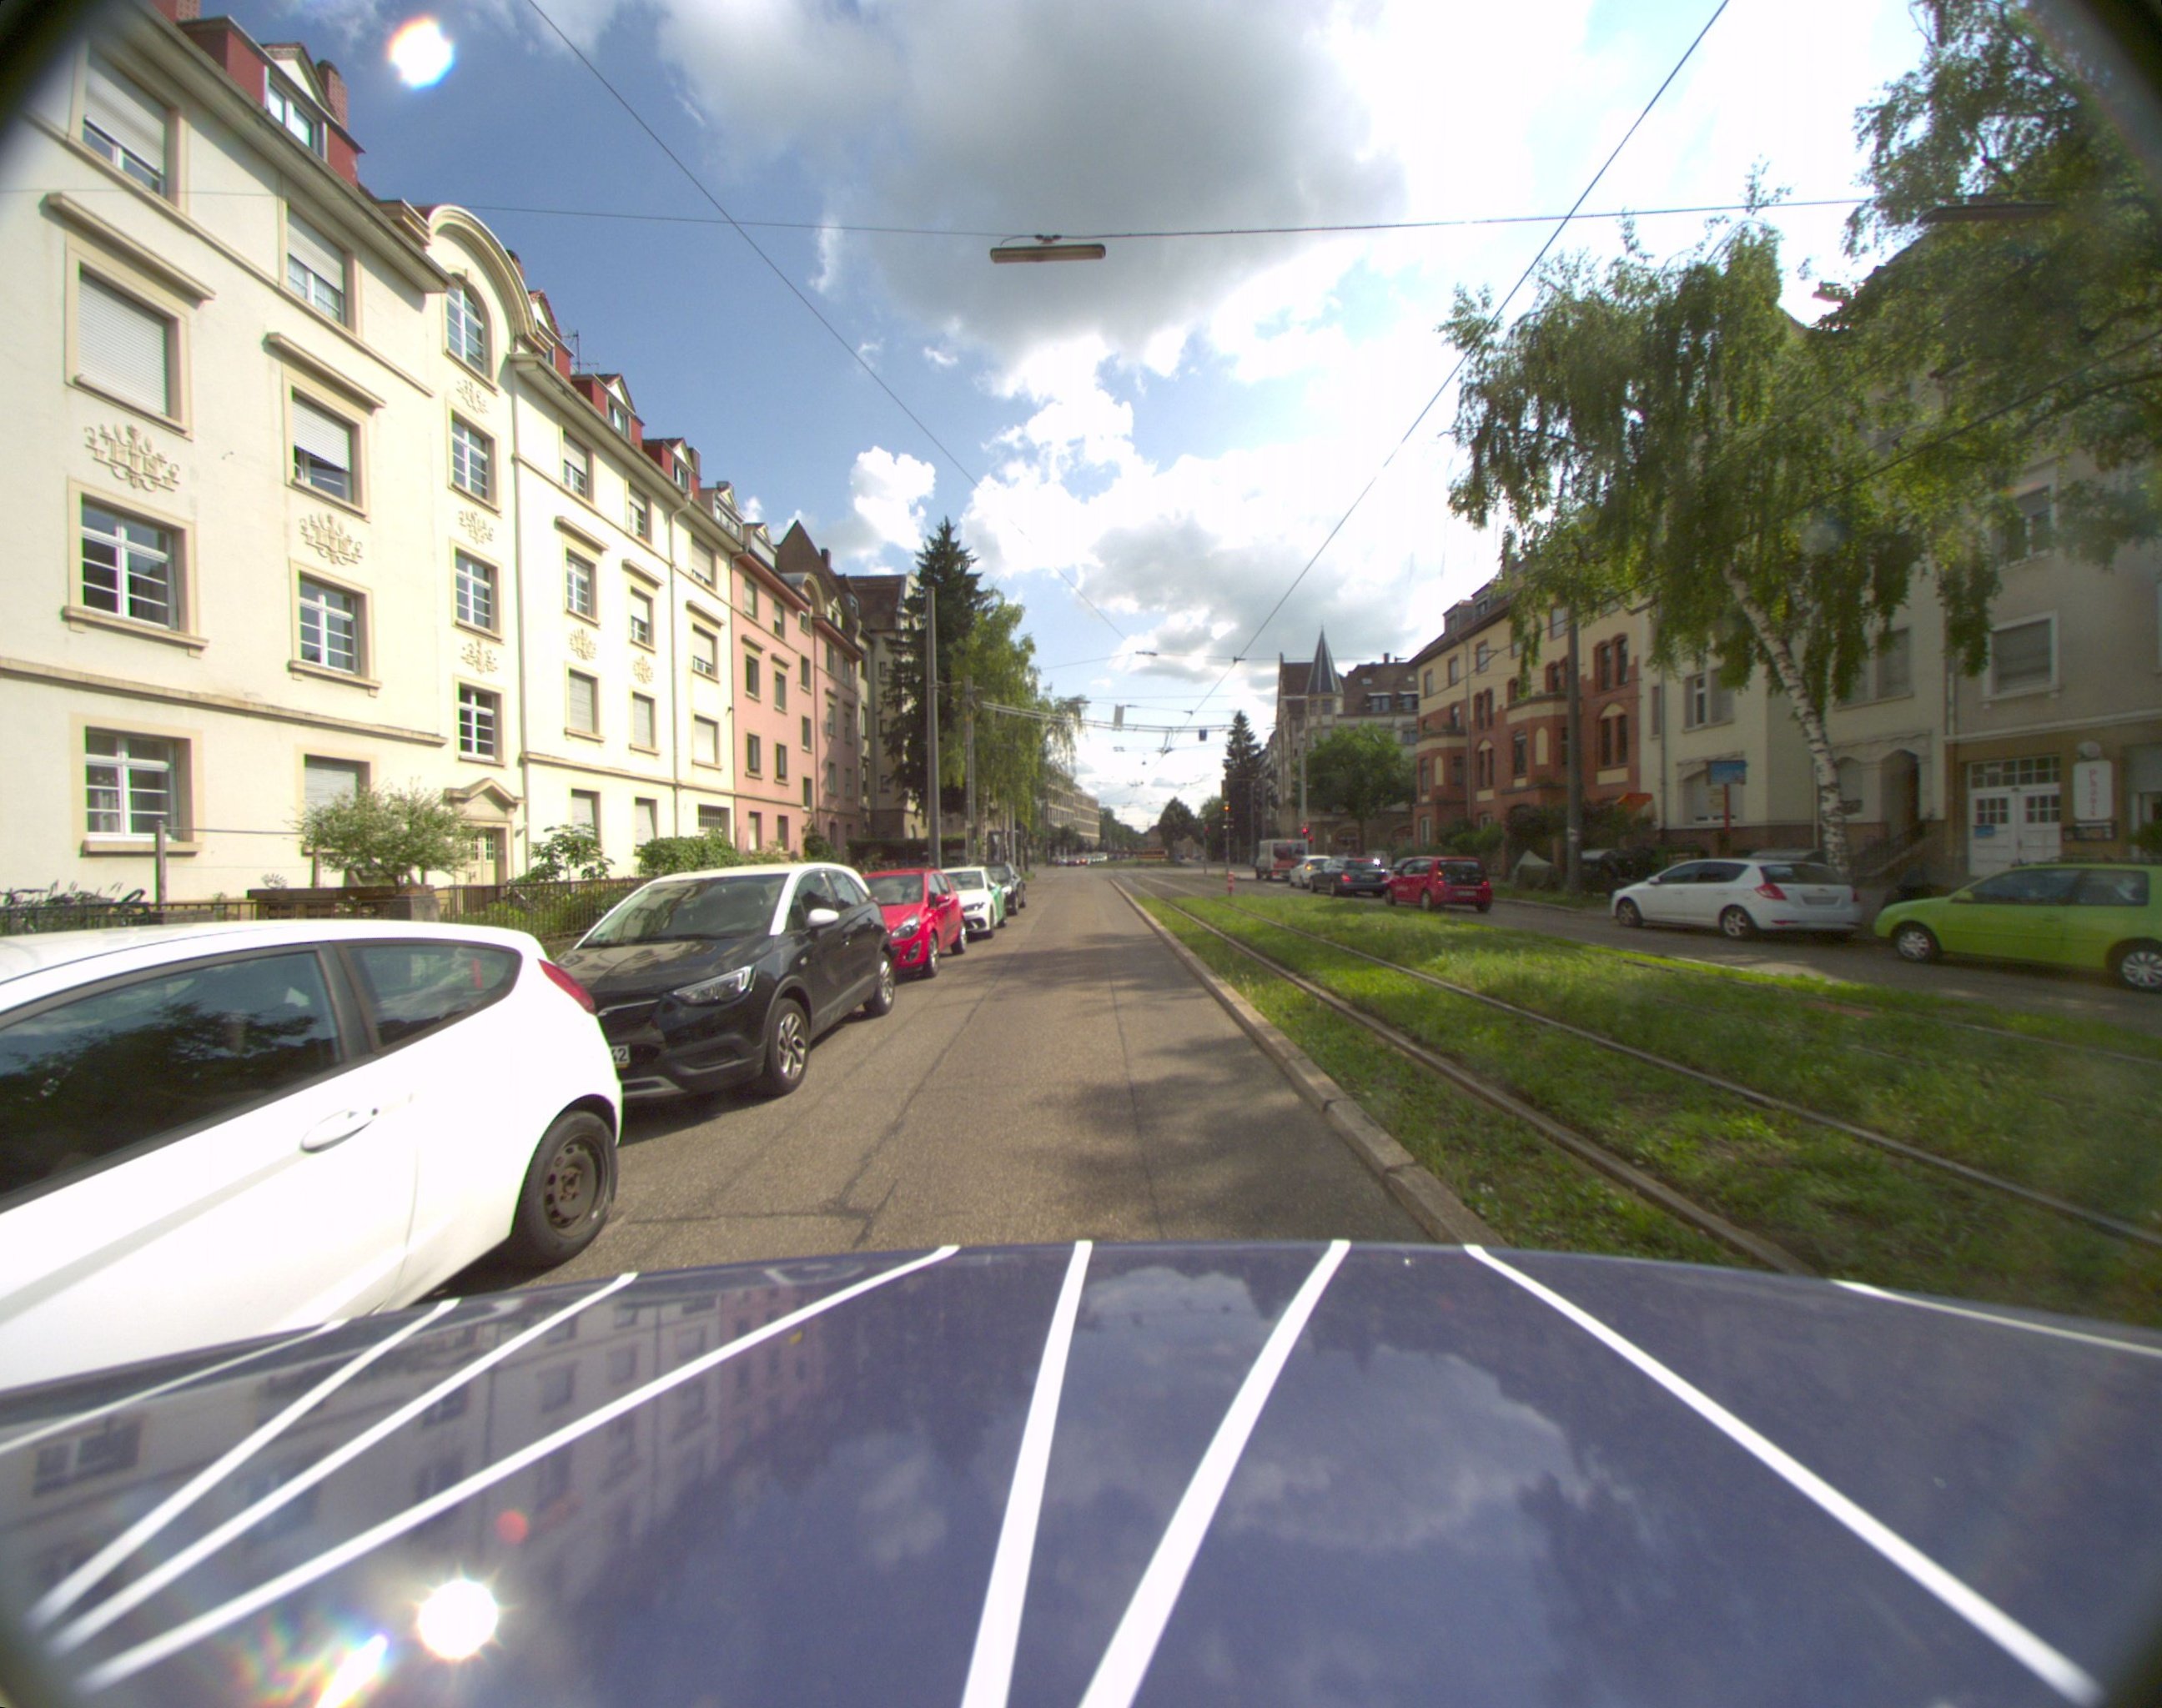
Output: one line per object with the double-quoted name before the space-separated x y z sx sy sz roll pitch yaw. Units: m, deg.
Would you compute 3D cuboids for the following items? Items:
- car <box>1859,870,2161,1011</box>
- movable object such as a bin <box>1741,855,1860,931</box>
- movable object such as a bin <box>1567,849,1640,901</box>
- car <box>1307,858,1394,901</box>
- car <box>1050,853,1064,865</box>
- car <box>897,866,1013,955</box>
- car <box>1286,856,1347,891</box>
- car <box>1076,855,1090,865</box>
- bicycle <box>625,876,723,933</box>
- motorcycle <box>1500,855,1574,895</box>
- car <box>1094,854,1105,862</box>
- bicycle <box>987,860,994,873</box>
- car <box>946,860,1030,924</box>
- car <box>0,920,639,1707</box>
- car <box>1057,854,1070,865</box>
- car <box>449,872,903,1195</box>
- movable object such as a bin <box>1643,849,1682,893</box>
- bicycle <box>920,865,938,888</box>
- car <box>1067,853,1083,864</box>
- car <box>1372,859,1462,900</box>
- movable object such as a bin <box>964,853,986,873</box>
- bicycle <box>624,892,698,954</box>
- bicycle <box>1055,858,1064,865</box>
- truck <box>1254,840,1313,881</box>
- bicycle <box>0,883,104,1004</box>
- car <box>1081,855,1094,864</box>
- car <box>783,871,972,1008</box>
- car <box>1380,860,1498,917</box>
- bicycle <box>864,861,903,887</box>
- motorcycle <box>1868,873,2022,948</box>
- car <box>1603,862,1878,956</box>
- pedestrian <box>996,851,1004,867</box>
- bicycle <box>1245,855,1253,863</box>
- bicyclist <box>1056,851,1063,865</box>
"car" 12.368 0.952 9.525 1.598 1.423 3.614 0 0 2
"movable object such as a bin" 14.714 0.768 15.600 0.953 1.421 1.521 -3 0 0
"movable object such as a bin" 15.144 0.595 22.087 0.953 1.359 1.521 -6 0 0
"car" 9.789 0.870 28.011 1.759 1.348 4.512 1 1 2
"car" -3.532 0.764 111.577 1.999 1.730 4.000 -1 0 -1
"car" -2.491 1.071 15.946 1.623 1.444 3.918 -4 0 1
"car" 10.490 0.811 34.140 1.759 1.406 4.135 1 1 5
"car" 0.325 0.862 109.332 1.619 1.265 4.001 -2 0 4
"bicycle" -9.020 1.109 16.883 1.846 1.175 0.464 -1 1 -6
"motorcycle" 14.889 0.670 24.917 0.903 1.235 2.293 -1 0 -5
"car" 3.355 0.718 137.114 1.738 1.570 4.001 0 0 4
"bicycle" -7.039 0.985 59.195 0.350 1.016 1.481 2 0 0
"car" -2.594 1.020 22.258 1.796 1.512 4.526 -4 0 0
"car" -2.886 1.063 1.534 1.677 1.409 3.795 -4 0 0
"car" -2.751 0.852 119.179 1.835 1.674 4.000 -1 0 1
"car" -2.624 1.015 5.987 1.497 1.570 3.758 -3 0 -1
"movable object such as a bin" 18.267 0.538 23.875 0.674 1.354 0.699 -1 1 -2
"bicycle" -7.049 1.035 35.362 0.420 1.046 1.778 -1 0 2
"car" -0.798 0.589 102.051 1.740 1.313 4.001 -3 0 4
"car" 12.432 0.898 28.391 1.759 1.348 3.995 0 0 2
"movable object such as a bin" -8.138 0.697 58.295 1.305 1.483 2.000 -1 0 1
"bicycle" -7.328 1.173 13.331 0.388 0.933 1.585 -1 0 0
"bicycle" -2.700 0.901 94.758 0.771 0.885 1.892 -1 0 7
"truck" 11.545 0.323 43.854 2.189 2.201 6.614 0 0 5
"bicycle" -12.170 0.977 8.334 1.978 1.244 0.672 -1 1 -1
"car" 1.023 0.767 116.333 1.619 1.265 4.001 -2 0 4
"car" -2.760 1.092 11.192 1.593 1.444 3.844 -4 0 1
"car" 9.696 0.884 20.901 1.582 1.378 3.693 0 0 1
"bicycle" -9.690 0.968 37.309 1.777 1.213 0.421 -1 1 0
"motorcycle" 14.608 0.924 12.917 0.737 1.145 1.633 0 0 -1
"car" 12.257 0.931 14.569 1.648 1.469 4.226 1 0 1
"pedestrian" -9.324 0.599 87.216 0.737 1.832 0.806 -2 1 -15
"bicycle" 20.408 0.649 92.500 0.625 0.966 2.336 -1 0 4
"bicyclist" -2.676 0.477 94.912 0.665 1.679 0.857 0 1 6
